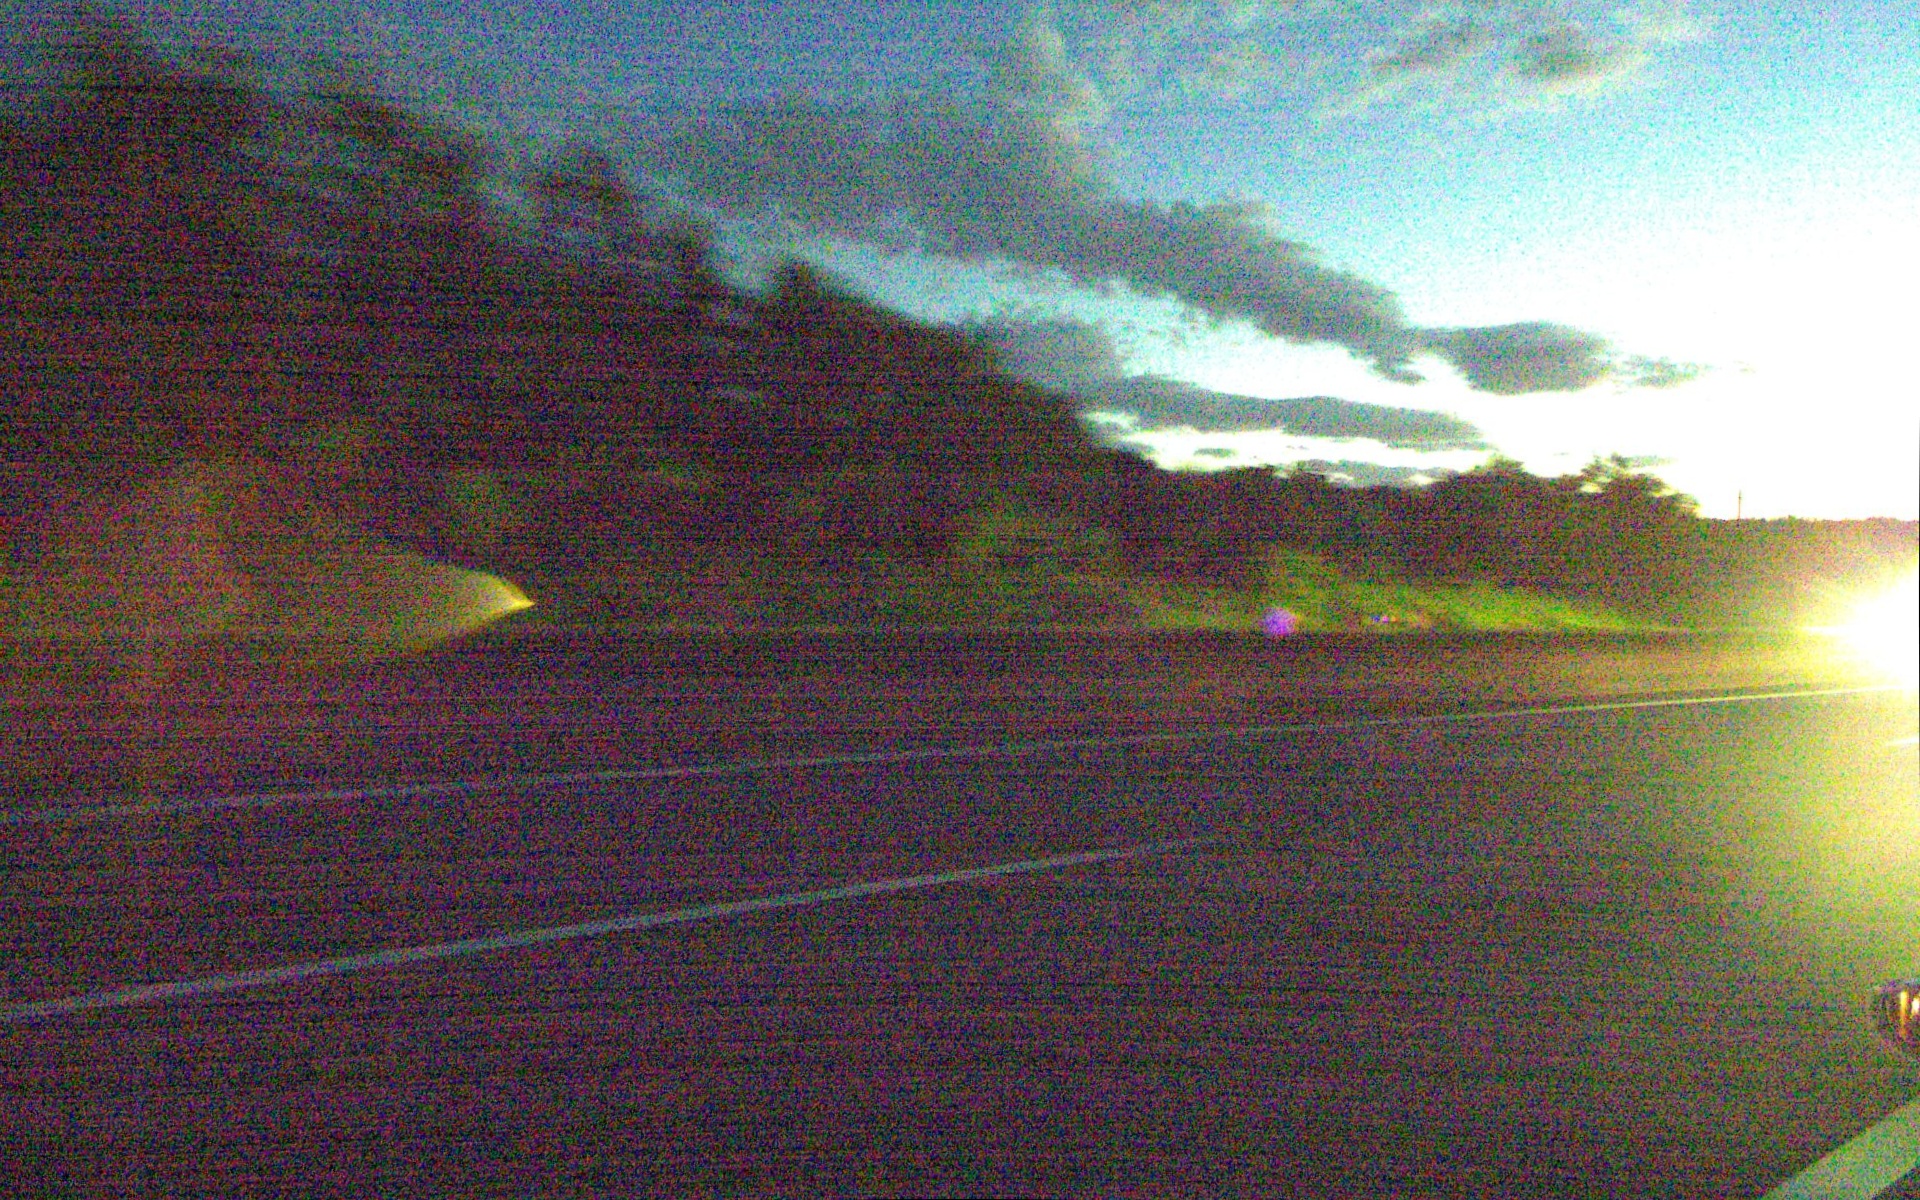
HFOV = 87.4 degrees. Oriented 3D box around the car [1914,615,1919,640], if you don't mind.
[{"bbox_3d":[61.829,1.759,63.037,3.958,1.529,1.981,1,0,-34],"label":"car"}]
